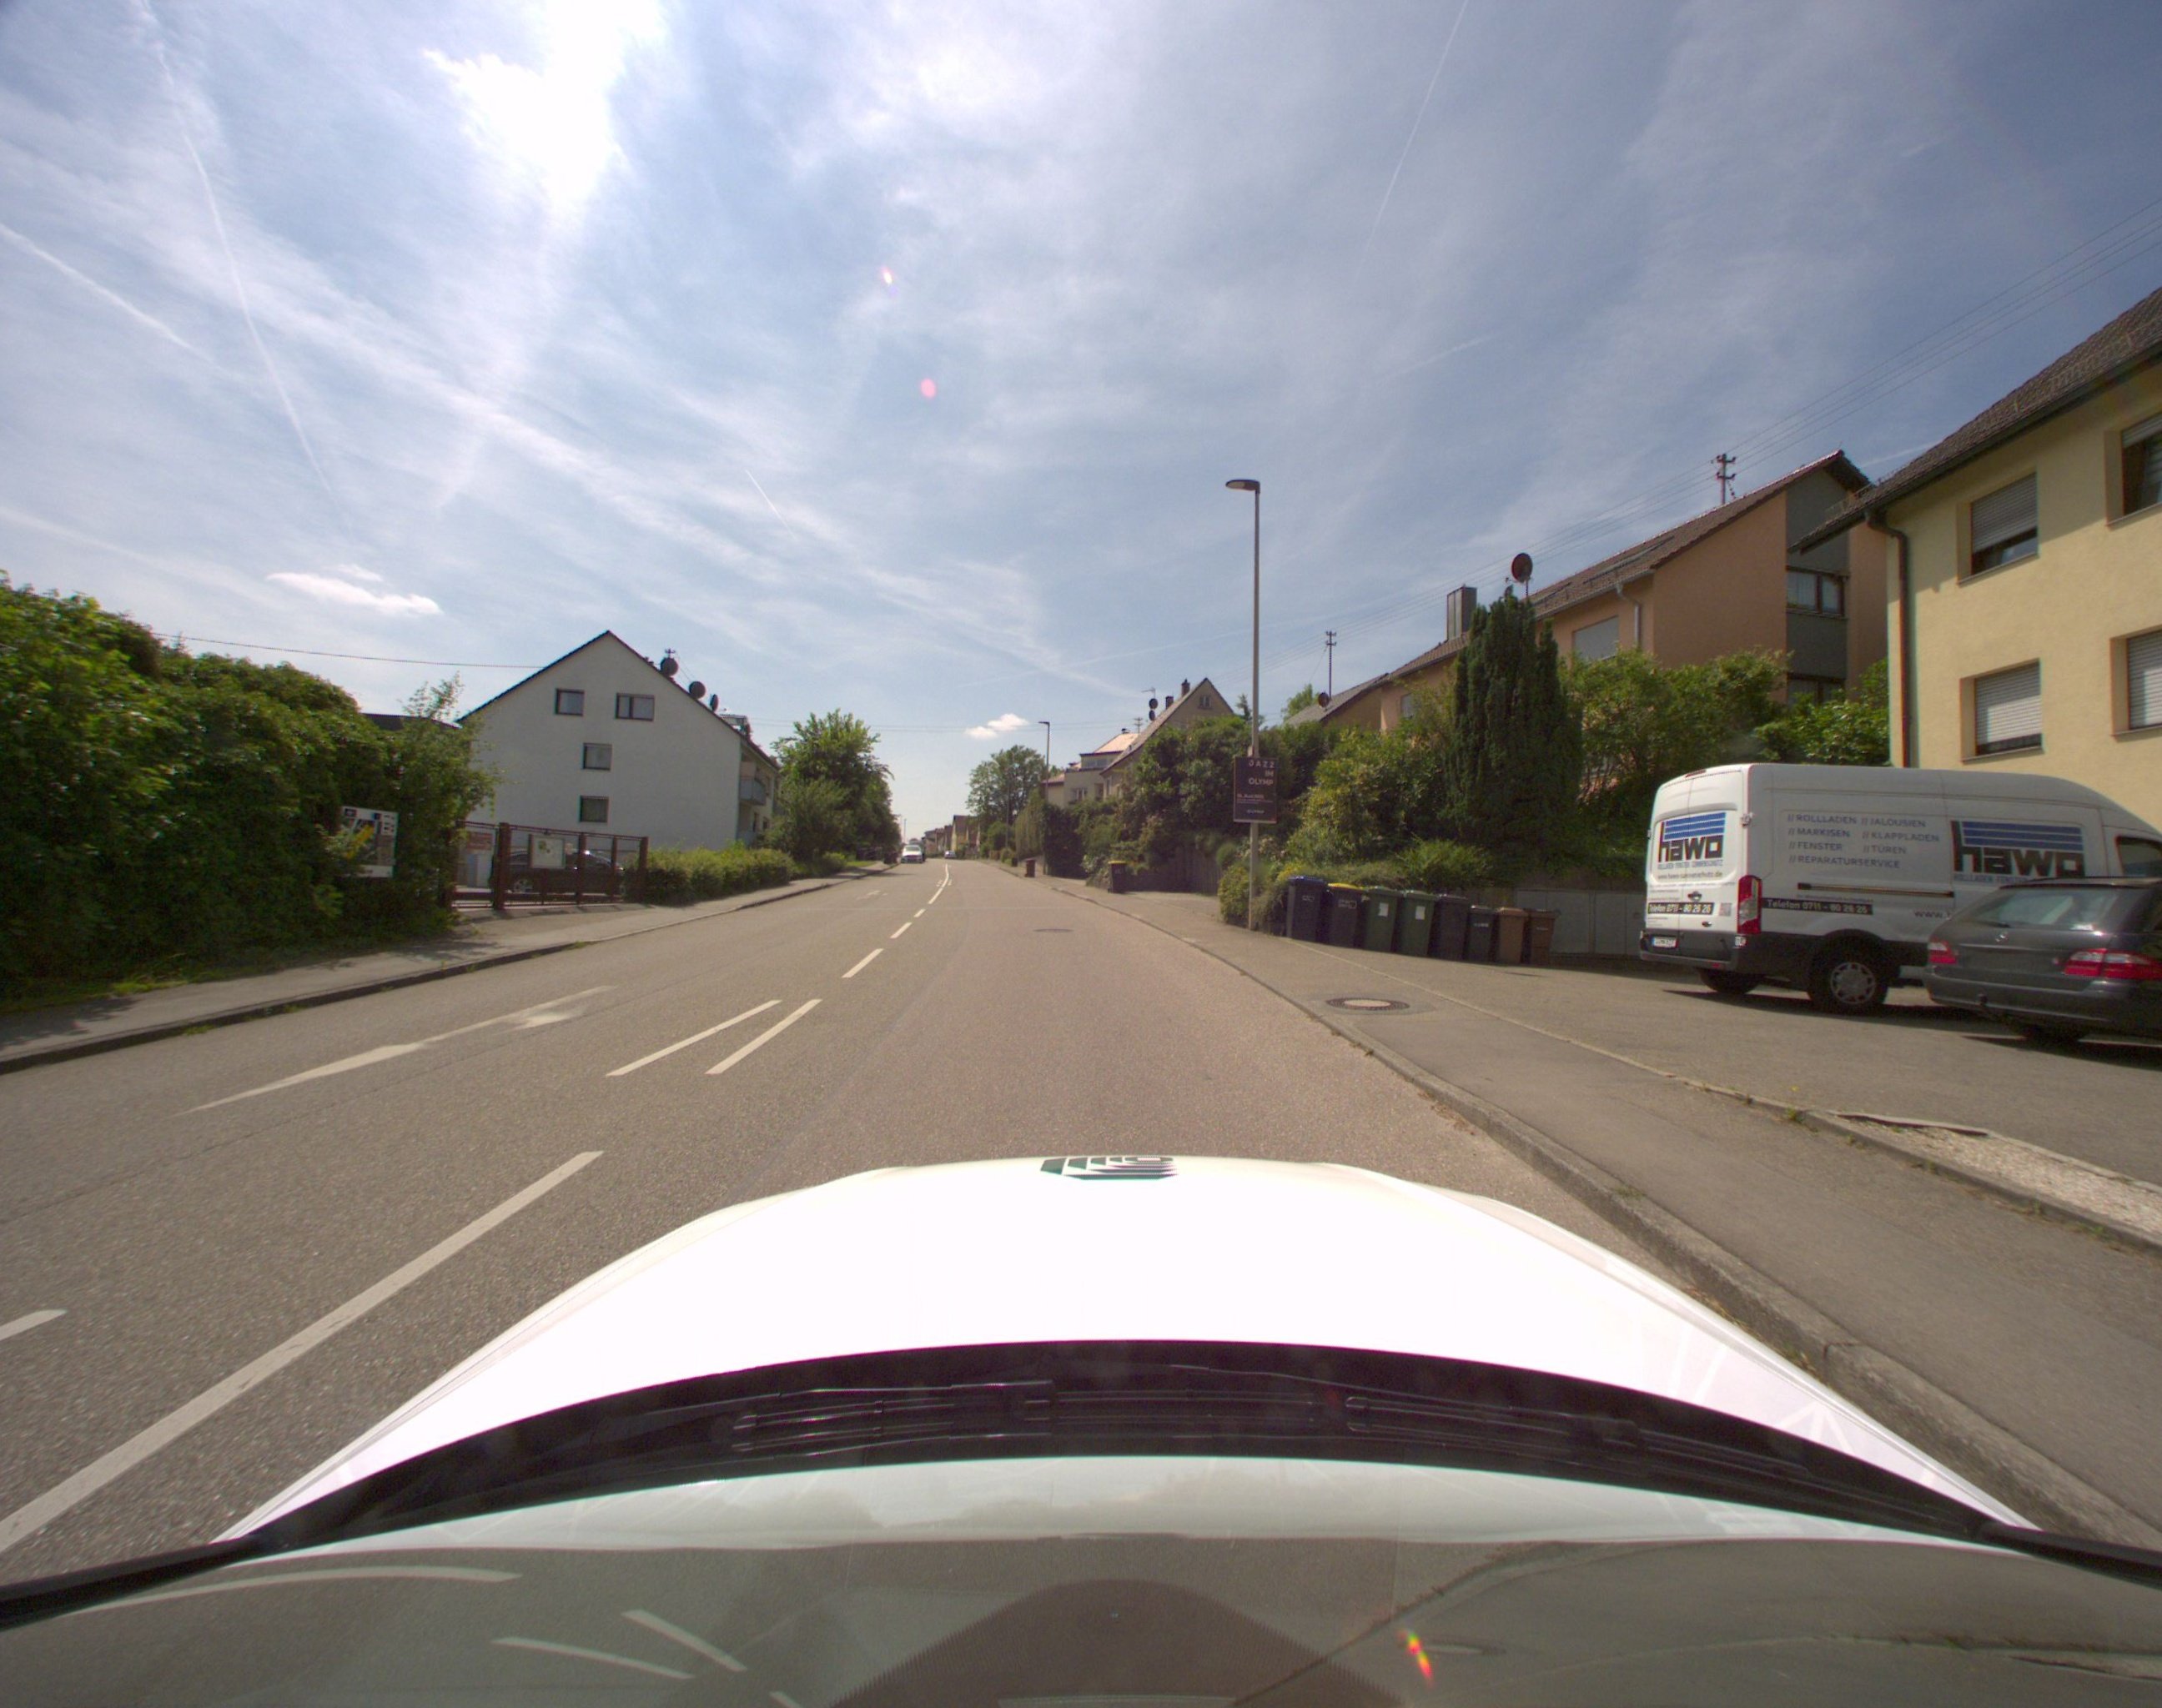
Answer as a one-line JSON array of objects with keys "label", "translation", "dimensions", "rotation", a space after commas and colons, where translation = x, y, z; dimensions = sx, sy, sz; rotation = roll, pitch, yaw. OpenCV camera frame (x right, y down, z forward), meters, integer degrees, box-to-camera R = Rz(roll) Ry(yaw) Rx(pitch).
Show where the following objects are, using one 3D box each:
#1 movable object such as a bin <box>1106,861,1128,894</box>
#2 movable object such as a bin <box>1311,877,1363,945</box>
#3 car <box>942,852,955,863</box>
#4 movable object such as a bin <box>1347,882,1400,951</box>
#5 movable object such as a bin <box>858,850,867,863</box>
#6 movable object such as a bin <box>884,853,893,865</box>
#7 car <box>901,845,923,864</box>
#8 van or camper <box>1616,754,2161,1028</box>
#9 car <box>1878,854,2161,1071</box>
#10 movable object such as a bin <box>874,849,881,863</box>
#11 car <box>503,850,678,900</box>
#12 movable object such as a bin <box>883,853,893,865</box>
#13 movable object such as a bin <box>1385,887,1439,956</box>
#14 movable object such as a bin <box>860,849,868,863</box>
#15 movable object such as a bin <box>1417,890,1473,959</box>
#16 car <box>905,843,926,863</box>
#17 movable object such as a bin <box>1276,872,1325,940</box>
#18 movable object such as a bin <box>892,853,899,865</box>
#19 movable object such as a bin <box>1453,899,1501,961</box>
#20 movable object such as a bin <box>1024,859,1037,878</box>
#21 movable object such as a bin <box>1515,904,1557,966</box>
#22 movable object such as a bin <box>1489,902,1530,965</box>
[{"label": "movable object such as a bin", "translation": [1.206, 0.790, 27.384], "dimensions": [0.588, 1.059, 0.917], "rotation": [1, 0, -8]}, {"label": "movable object such as a bin", "translation": [4.374, 0.964, 13.952], "dimensions": [0.548, 1.068, 0.768], "rotation": [6, -1, -1]}, {"label": "car", "translation": [-21.860, 0.565, 134.537], "dimensions": [1.995, 1.603, 3.984], "rotation": [1, 0, -11]}, {"label": "movable object such as a bin", "translation": [4.970, 1.045, 13.863], "dimensions": [0.548, 1.068, 0.672], "rotation": [6, -1, -1]}, {"label": "movable object such as a bin", "translation": [-18.142, 0.224, 67.703], "dimensions": [0.601, 1.096, 0.649], "rotation": [1, 0, -4]}, {"label": "movable object such as a bin", "translation": [-14.783, 0.373, 62.528], "dimensions": [0.562, 0.917, 0.642], "rotation": [1, 0, -4]}, {"label": "car", "translation": [-14.884, 0.015, 71.820], "dimensions": [1.812, 1.549, 4.225], "rotation": [2, 0, -12]}, {"label": "van or camper", "translation": [9.710, 0.427, 9.608], "dimensions": [5.201, 2.647, 2.288], "rotation": [3, -3, 6]}, {"label": "car", "translation": [9.920, 0.863, 6.688], "dimensions": [4.676, 1.563, 1.911], "rotation": [1, -2, 5]}, {"label": "movable object such as a bin", "translation": [-17.287, 0.172, 69.161], "dimensions": [0.517, 1.104, 0.527], "rotation": [1, 0, -11]}, {"label": "car", "translation": [-14.509, 0.621, 24.344], "dimensions": [3.990, 1.387, 1.992], "rotation": [1, 0, -13]}, {"label": "movable object such as a bin", "translation": [-14.504, 0.358, 61.266], "dimensions": [0.618, 0.917, 0.685], "rotation": [1, 0, -4]}, {"label": "movable object such as a bin", "translation": [5.569, 1.121, 13.737], "dimensions": [0.548, 1.068, 0.672], "rotation": [5, -1, -1]}, {"label": "movable object such as a bin", "translation": [-18.223, 0.199, 68.429], "dimensions": [0.546, 1.178, 0.673], "rotation": [1, 0, -5]}, {"label": "movable object such as a bin", "translation": [6.140, 1.171, 13.754], "dimensions": [0.548, 1.068, 0.672], "rotation": [5, -1, -1]}, {"label": "car", "translation": [-16.096, -0.140, 79.108], "dimensions": [1.898, 1.920, 4.850], "rotation": [0, 1, -13]}, {"label": "movable object such as a bin", "translation": [3.772, 0.887, 14.035], "dimensions": [0.548, 1.068, 0.658], "rotation": [6, -1, -1]}, {"label": "movable object such as a bin", "translation": [-14.599, 0.386, 64.087], "dimensions": [0.505, 0.988, 0.562], "rotation": [1, 0, -4]}, {"label": "movable object such as a bin", "translation": [6.675, 1.270, 13.733], "dimensions": [0.457, 0.972, 0.549], "rotation": [5, -1, -1]}, {"label": "movable object such as a bin", "translation": [-2.707, 0.771, 43.680], "dimensions": [0.588, 0.977, 0.783], "rotation": [-1, 0, -11]}, {"label": "movable object such as a bin", "translation": [7.625, 1.351, 13.652], "dimensions": [0.398, 0.972, 0.408], "rotation": [5, -1, -1]}, {"label": "movable object such as a bin", "translation": [7.162, 1.323, 13.615], "dimensions": [0.398, 0.972, 0.408], "rotation": [5, -1, -1]}]
